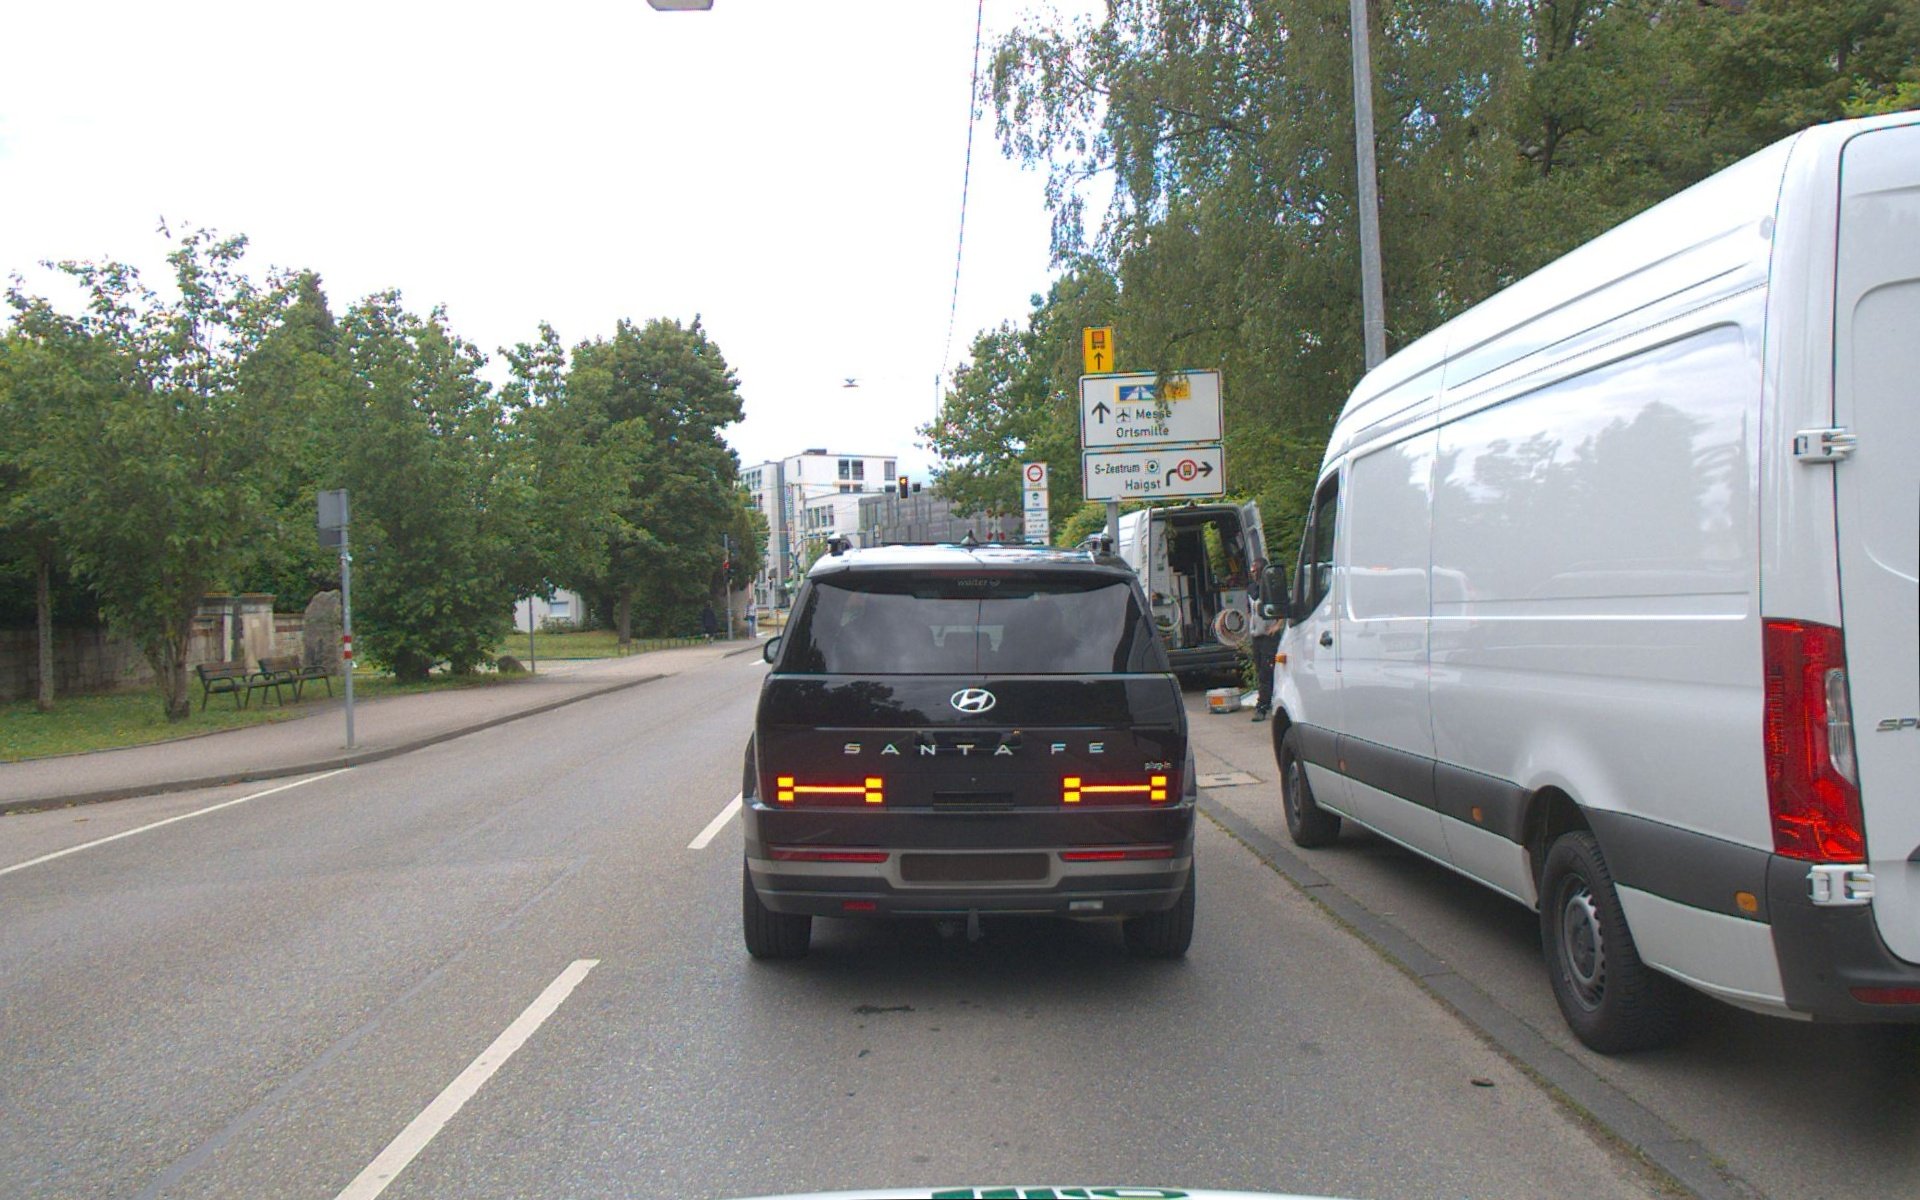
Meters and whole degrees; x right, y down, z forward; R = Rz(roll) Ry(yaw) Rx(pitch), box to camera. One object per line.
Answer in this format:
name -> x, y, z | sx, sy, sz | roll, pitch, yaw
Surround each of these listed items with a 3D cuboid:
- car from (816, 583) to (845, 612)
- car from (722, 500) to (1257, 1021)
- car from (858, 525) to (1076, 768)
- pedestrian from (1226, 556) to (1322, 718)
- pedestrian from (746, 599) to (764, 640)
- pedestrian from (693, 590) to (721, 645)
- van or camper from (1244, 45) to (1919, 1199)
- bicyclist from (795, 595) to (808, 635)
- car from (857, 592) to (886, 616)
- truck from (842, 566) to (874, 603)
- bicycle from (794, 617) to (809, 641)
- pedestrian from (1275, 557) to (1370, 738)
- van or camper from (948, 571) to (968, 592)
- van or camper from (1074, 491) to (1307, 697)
car -> -11.316, -0.189, 144.092 | 2.288, 2.356, 4.950 | -2, 0, -7
car -> 0.079, 0.576, 7.821 | 1.858, 1.807, 3.993 | 1, 0, -1
car -> 0.034, 0.411, 16.322 | 1.858, 2.077, 3.993 | 1, 0, -1
pedestrian -> 3.493, 0.399, 18.384 | 0.738, 1.751, 0.788 | 0, -1, 40
pedestrian -> -8.988, 0.835, 72.568 | 0.753, 1.779, 0.902 | 0, 0, -8
pedestrian -> -9.488, 0.648, 62.120 | 0.812, 2.049, 1.047 | 1, -1, 1
van or camper -> 2.885, 0.030, 7.028 | 1.951, 2.670, 6.543 | -5, 0, -1
bicyclist -> -6.863, 0.664, 71.640 | 0.477, 1.713, 0.588 | 1, -1, -1
car -> -5.929, 0.268, 110.929 | 1.721, 1.427, 4.413 | -4, 0, -1
truck -> -11.559, -1.718, 186.932 | 3.048, 3.926, 9.608 | -2, 0, -6
bicycle -> -6.874, 1.250, 71.735 | 0.485, 0.981, 1.748 | 1, 0, -1
pedestrian -> 3.491, 0.452, 15.979 | 0.721, 1.672, 0.802 | -3, -1, 5
van or camper -> -0.210, -1.909, 172.496 | 1.760, 2.033, 3.820 | 1, 0, -4
van or camper -> 3.293, -0.030, 25.310 | 2.294, 2.537, 6.600 | -5, -1, -2
